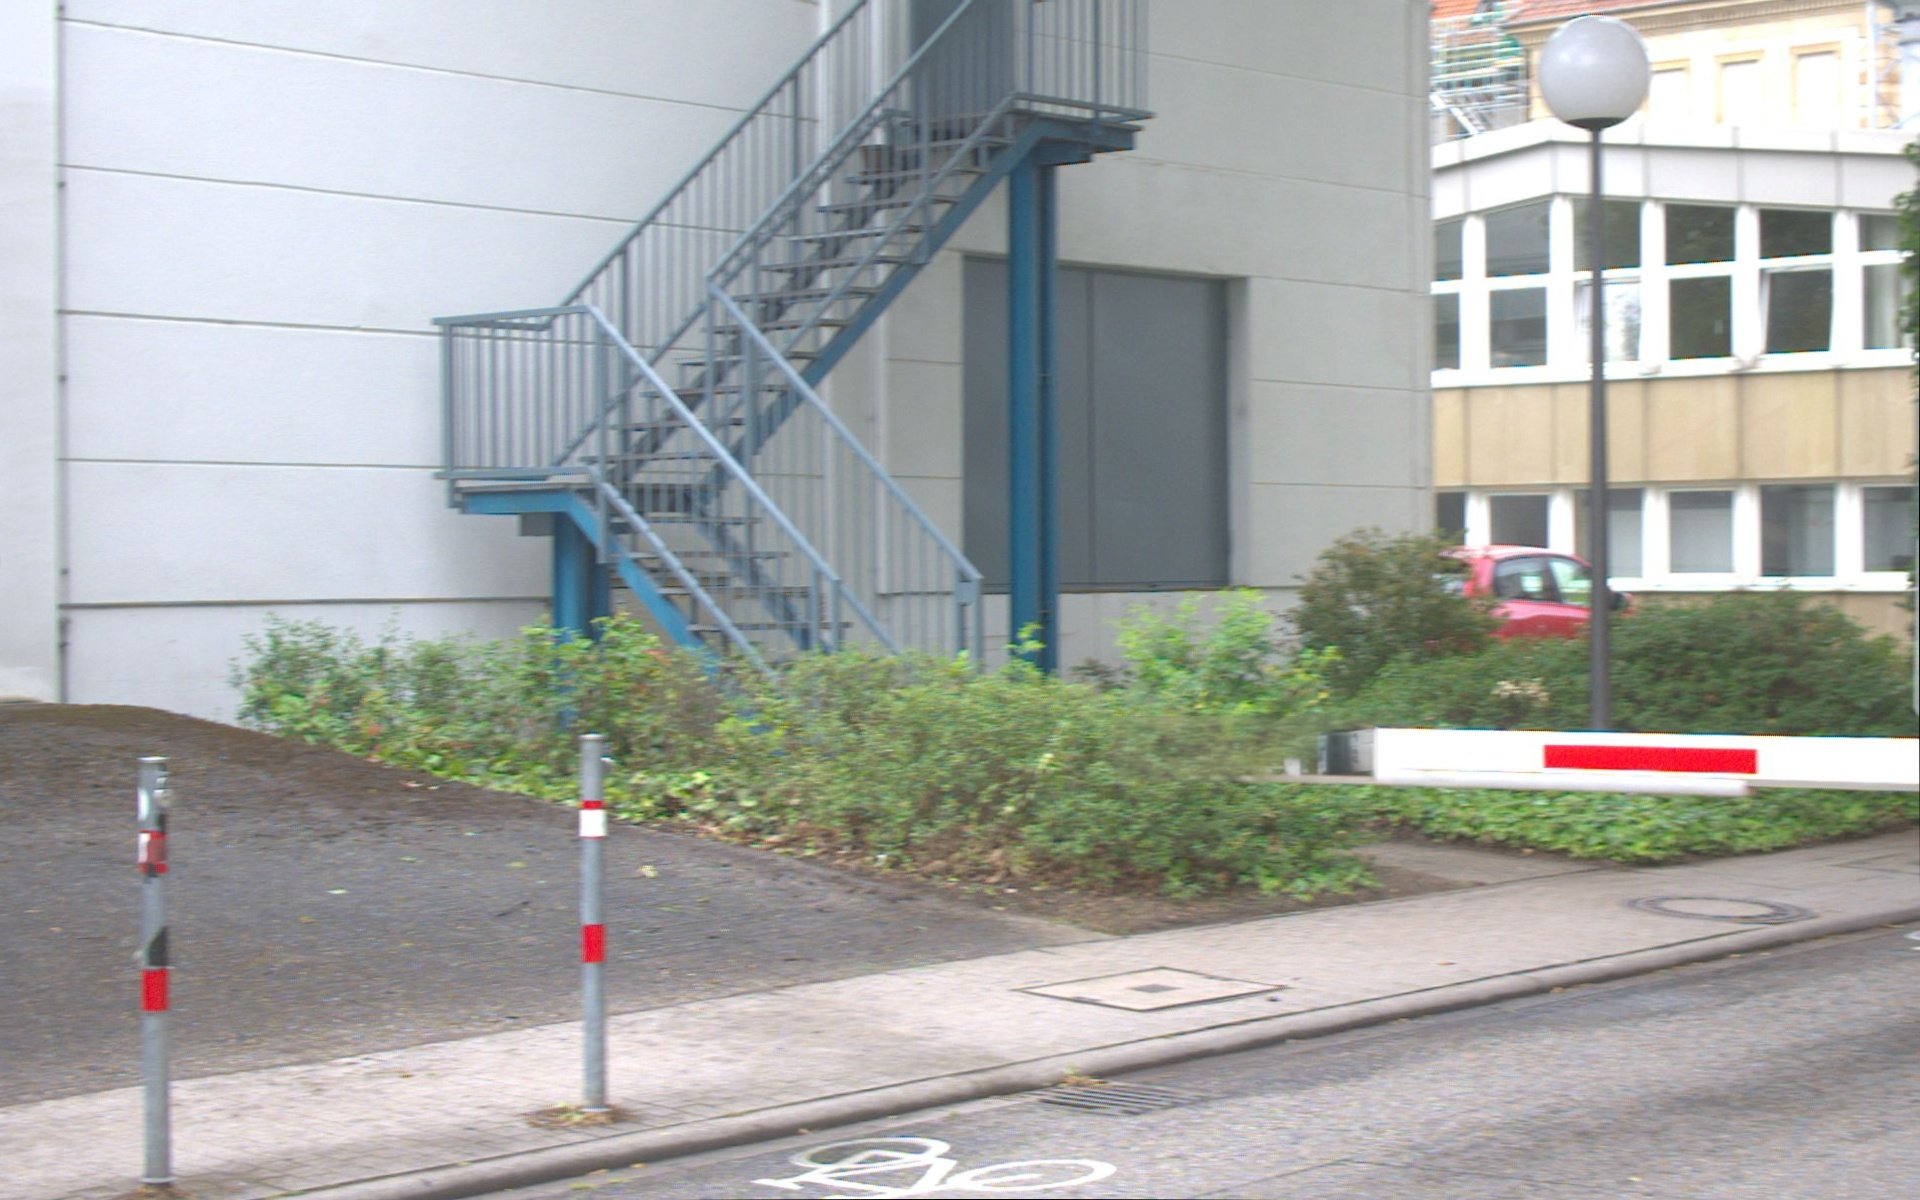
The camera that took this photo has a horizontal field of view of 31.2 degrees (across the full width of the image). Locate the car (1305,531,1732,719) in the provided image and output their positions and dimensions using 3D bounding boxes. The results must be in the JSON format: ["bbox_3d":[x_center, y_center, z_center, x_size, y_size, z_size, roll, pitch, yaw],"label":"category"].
[{"bbox_3d":[4.941,0.158,30.086,1.867,1.525,3.990,1,2,41],"label":"car"}]
